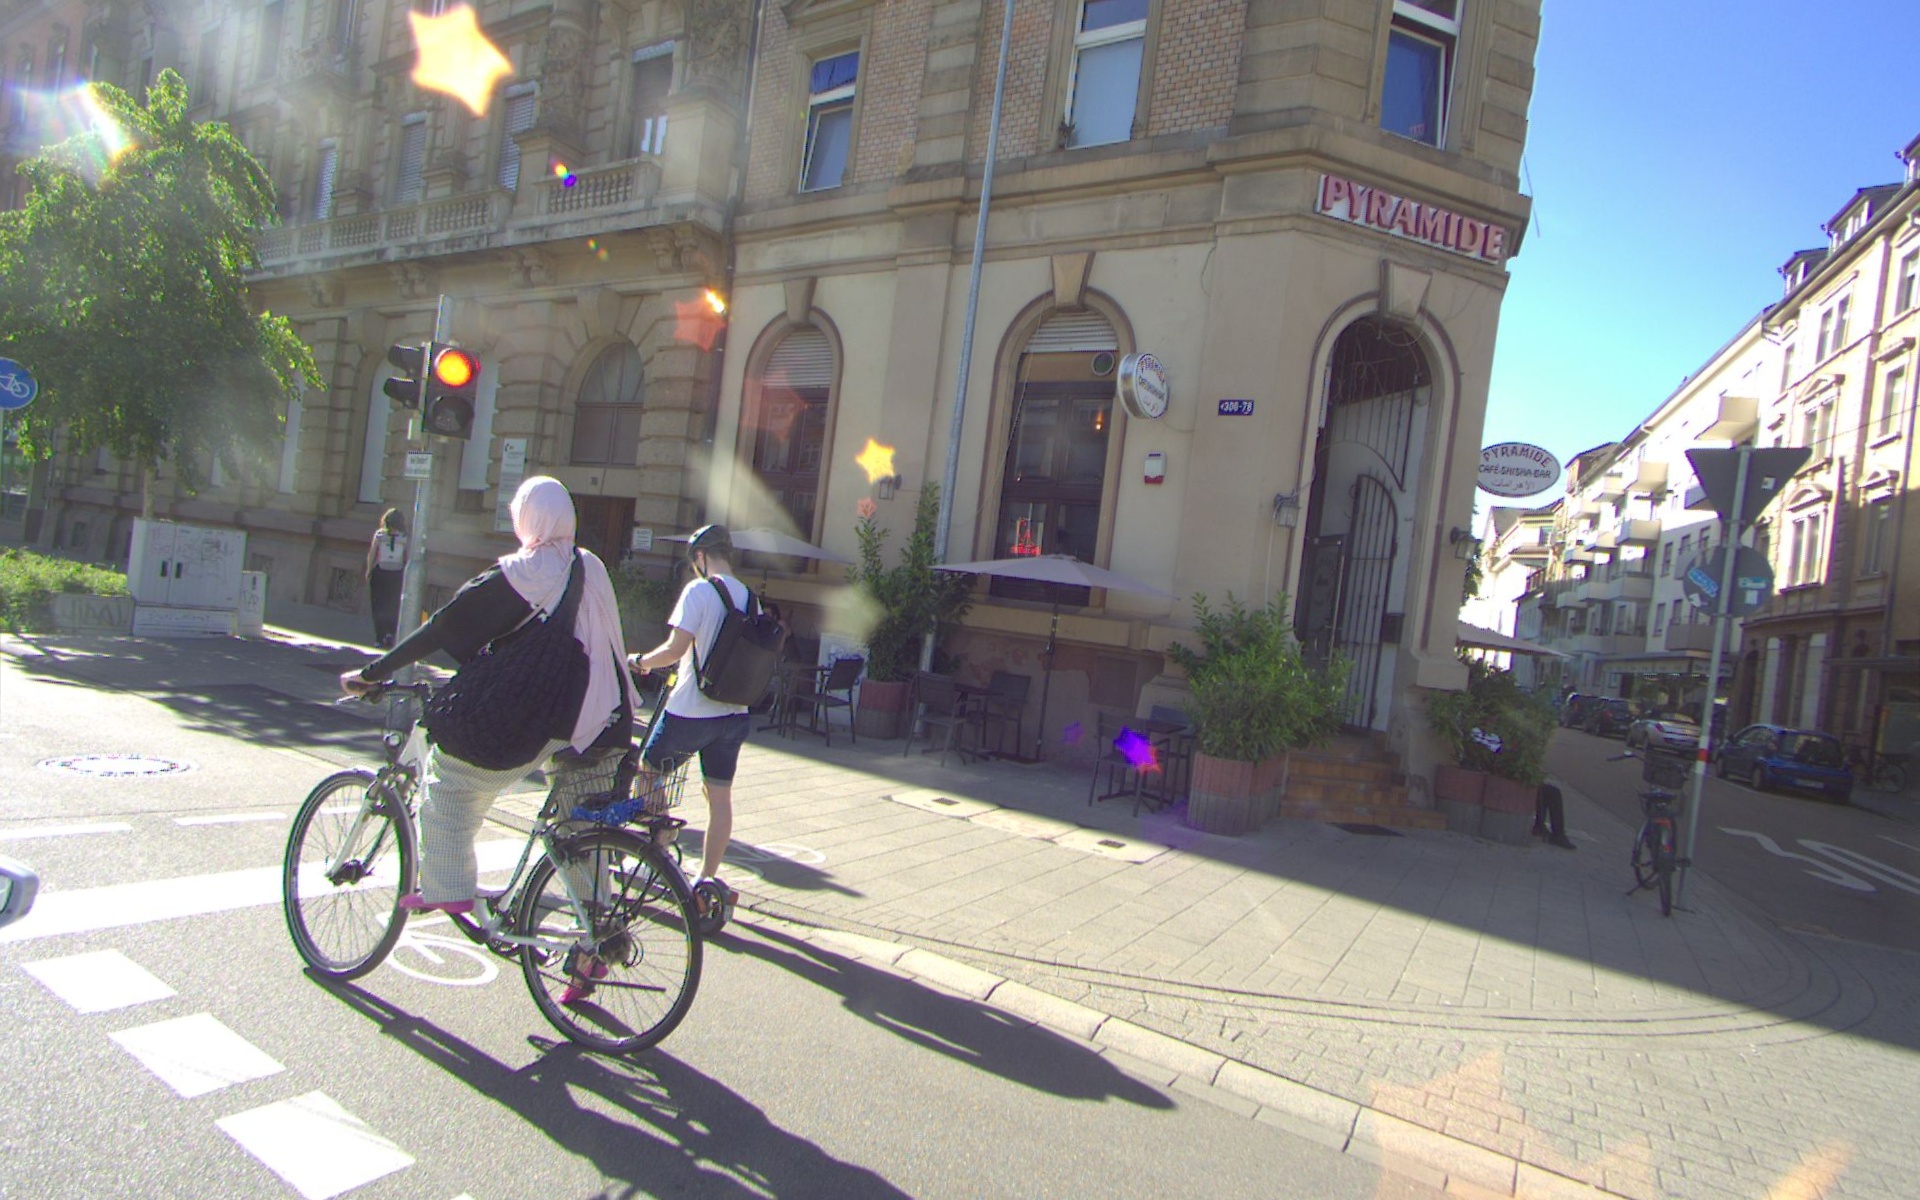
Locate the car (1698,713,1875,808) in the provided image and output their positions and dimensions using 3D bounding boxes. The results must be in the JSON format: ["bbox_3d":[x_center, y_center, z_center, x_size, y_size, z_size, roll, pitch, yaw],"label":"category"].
[{"bbox_3d":[18.477,3.526,22.726,1.769,1.437,4.000,9,0,22],"label":"car"}]

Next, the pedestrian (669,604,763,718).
[{"bbox_3d":[-2.775,0.689,11.468,0.624,1.193,0.706,7,2,31],"label":"pedestrian"}]

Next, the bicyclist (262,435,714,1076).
[{"bbox_3d":[-1.509,0.425,3.282,0.854,1.731,0.781,7,-2,31],"label":"bicyclist"}]

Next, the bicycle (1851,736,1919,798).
[{"bbox_3d":[22.232,3.961,23.683,0.621,1.192,2.014,7,0,1],"label":"bicycle"}]

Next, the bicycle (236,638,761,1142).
[{"bbox_3d":[-1.580,0.804,3.326,1.762,1.105,0.558,7,-2,31],"label":"bicycle"}]

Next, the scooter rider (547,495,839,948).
[{"bbox_3d":[-1.251,0.522,4.759,0.886,1.882,0.668,7,-1,31],"label":"scooter rider"}]

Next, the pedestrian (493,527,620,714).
[{"bbox_3d":[-4.272,0.222,10.744,0.956,1.809,0.865,8,-1,-16],"label":"pedestrian"}]

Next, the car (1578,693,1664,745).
[{"bbox_3d":[24.033,4.306,36.723,1.769,1.449,3.773,7,-1,22],"label":"car"}]

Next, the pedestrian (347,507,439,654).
[{"bbox_3d":[-7.977,-0.277,14.141,1.064,1.932,0.650,7,1,42],"label":"pedestrian"}]

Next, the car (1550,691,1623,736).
[{"bbox_3d":[25.850,4.650,41.653,1.769,1.449,3.773,7,-1,22],"label":"car"}]

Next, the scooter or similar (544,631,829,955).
[{"bbox_3d":[-1.307,0.852,4.773,1.151,1.240,0.492,7,-2,31],"label":"scooter or similar"}]

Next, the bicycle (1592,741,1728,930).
[{"bbox_3d":[5.696,1.839,8.203,0.643,1.186,1.818,11,2,35],"label":"bicycle"}]

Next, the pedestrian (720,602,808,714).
[{"bbox_3d":[-2.362,0.691,12.143,0.624,1.252,0.706,7,2,31],"label":"pedestrian"}]

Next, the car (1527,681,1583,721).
[{"bbox_3d":[30.119,5.085,51.017,1.769,1.685,3.772,7,-1,23],"label":"car"}]

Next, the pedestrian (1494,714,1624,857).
[{"bbox_3d":[6.100,1.855,10.307,0.917,1.228,0.852,7,-1,25],"label":"pedestrian"}]

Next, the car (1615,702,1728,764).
[{"bbox_3d":[21.791,4.026,30.967,1.769,1.350,4.000,9,0,22],"label":"car"}]

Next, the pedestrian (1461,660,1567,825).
[{"bbox_3d":[6.628,1.682,12.085,0.852,1.781,0.909,7,-1,25],"label":"pedestrian"}]
